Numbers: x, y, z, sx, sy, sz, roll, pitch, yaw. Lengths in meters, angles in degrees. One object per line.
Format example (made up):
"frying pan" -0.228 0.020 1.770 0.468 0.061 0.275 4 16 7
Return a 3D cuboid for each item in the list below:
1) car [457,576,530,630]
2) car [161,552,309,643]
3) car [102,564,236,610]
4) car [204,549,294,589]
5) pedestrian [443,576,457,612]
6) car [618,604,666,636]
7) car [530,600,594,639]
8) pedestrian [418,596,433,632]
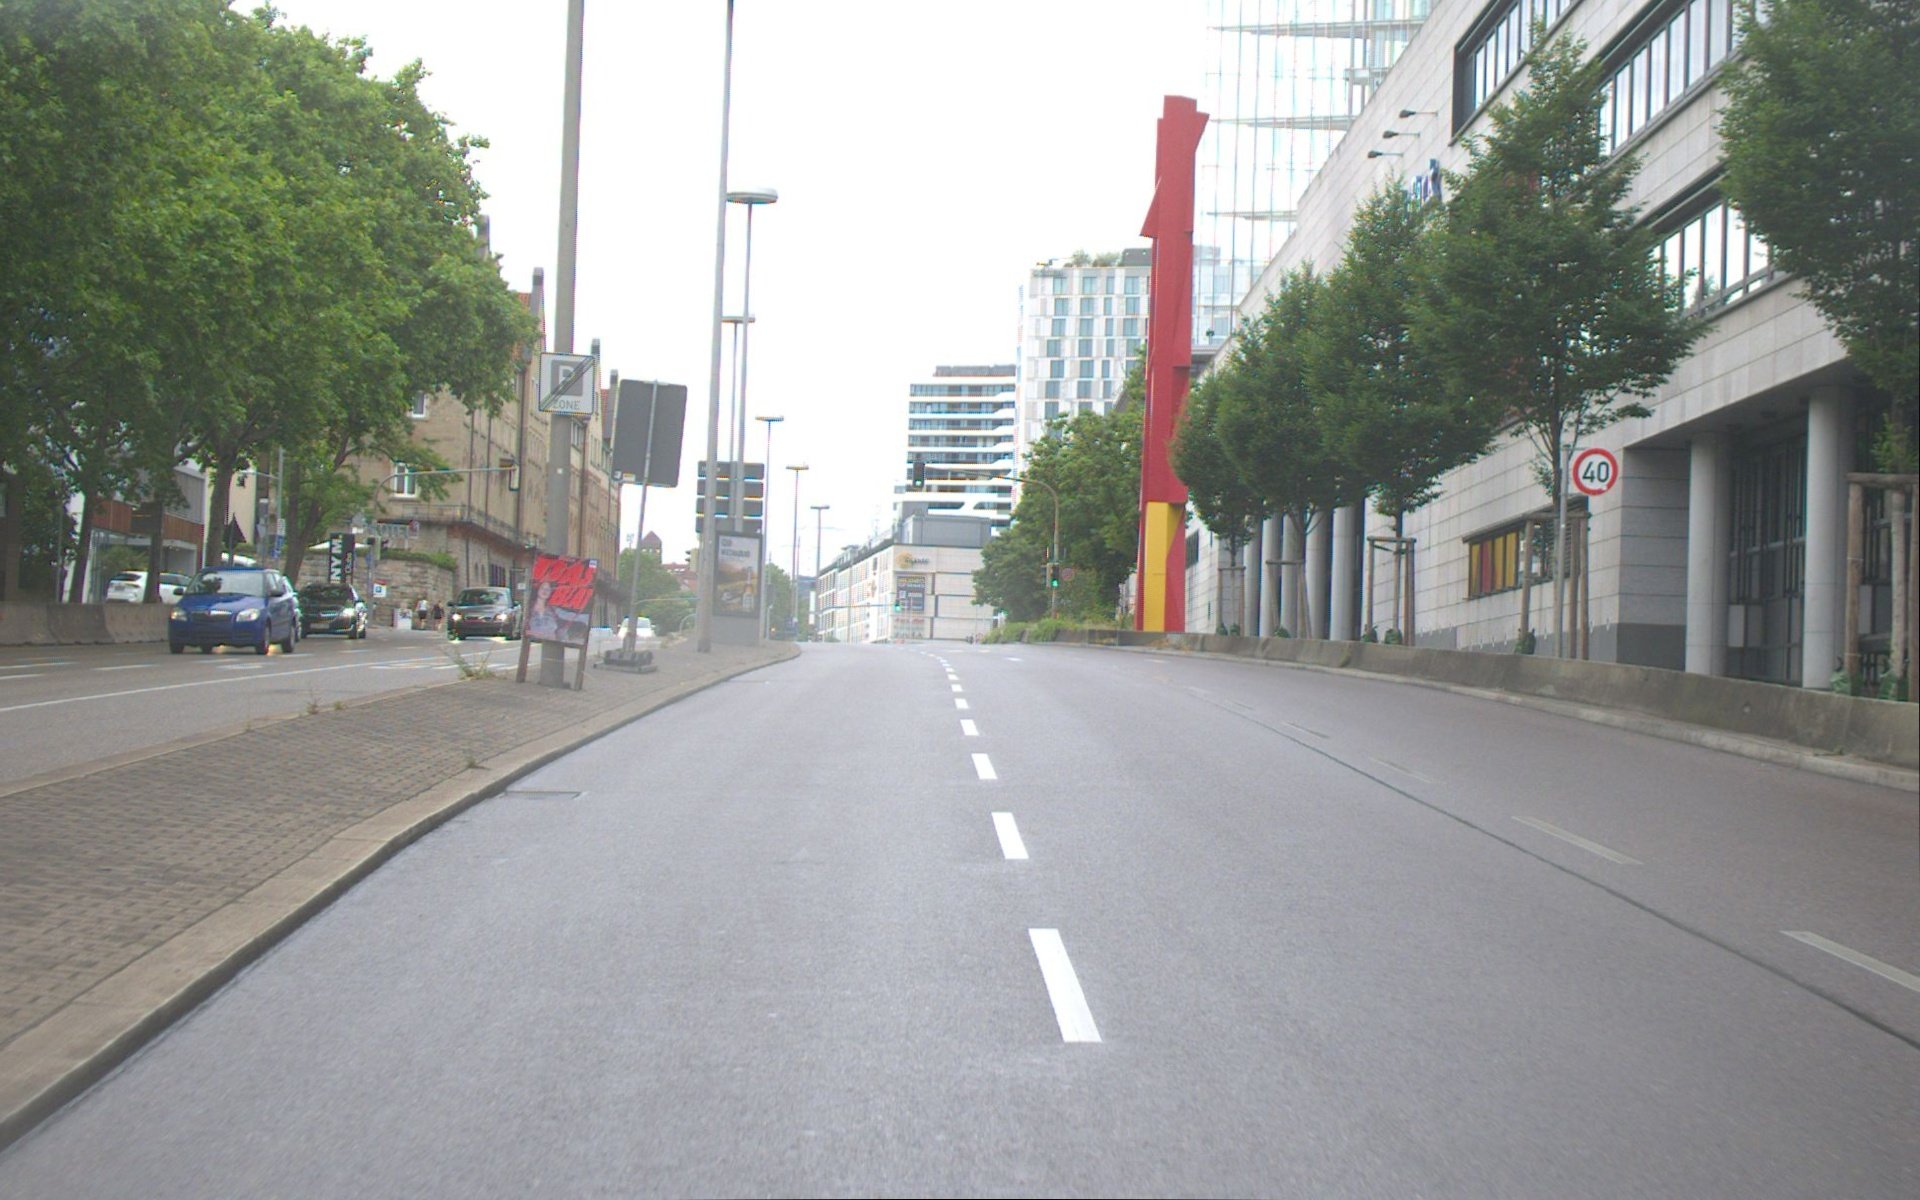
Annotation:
"car" -12.516 0.071 92.337 1.686 1.405 4.000 1 0 -4
"car" -12.344 -0.063 58.717 1.608 1.468 4.067 1 1 1
"car" -28.466 -0.450 123.793 1.823 1.506 4.567 -1 -2 38
"car" -31.180 -1.359 150.857 3.628 1.695 1.825 0 -1 -3
"pedestrian" -23.082 -0.259 155.648 0.498 1.605 0.500 2 -1 2
"car" -15.205 0.949 164.707 1.819 1.464 3.999 0 -1 2
"car" -14.871 0.743 128.462 1.819 1.398 3.999 0 -1 2
"pedestrian" -24.192 0.636 155.545 0.498 1.605 0.500 2 -1 2
